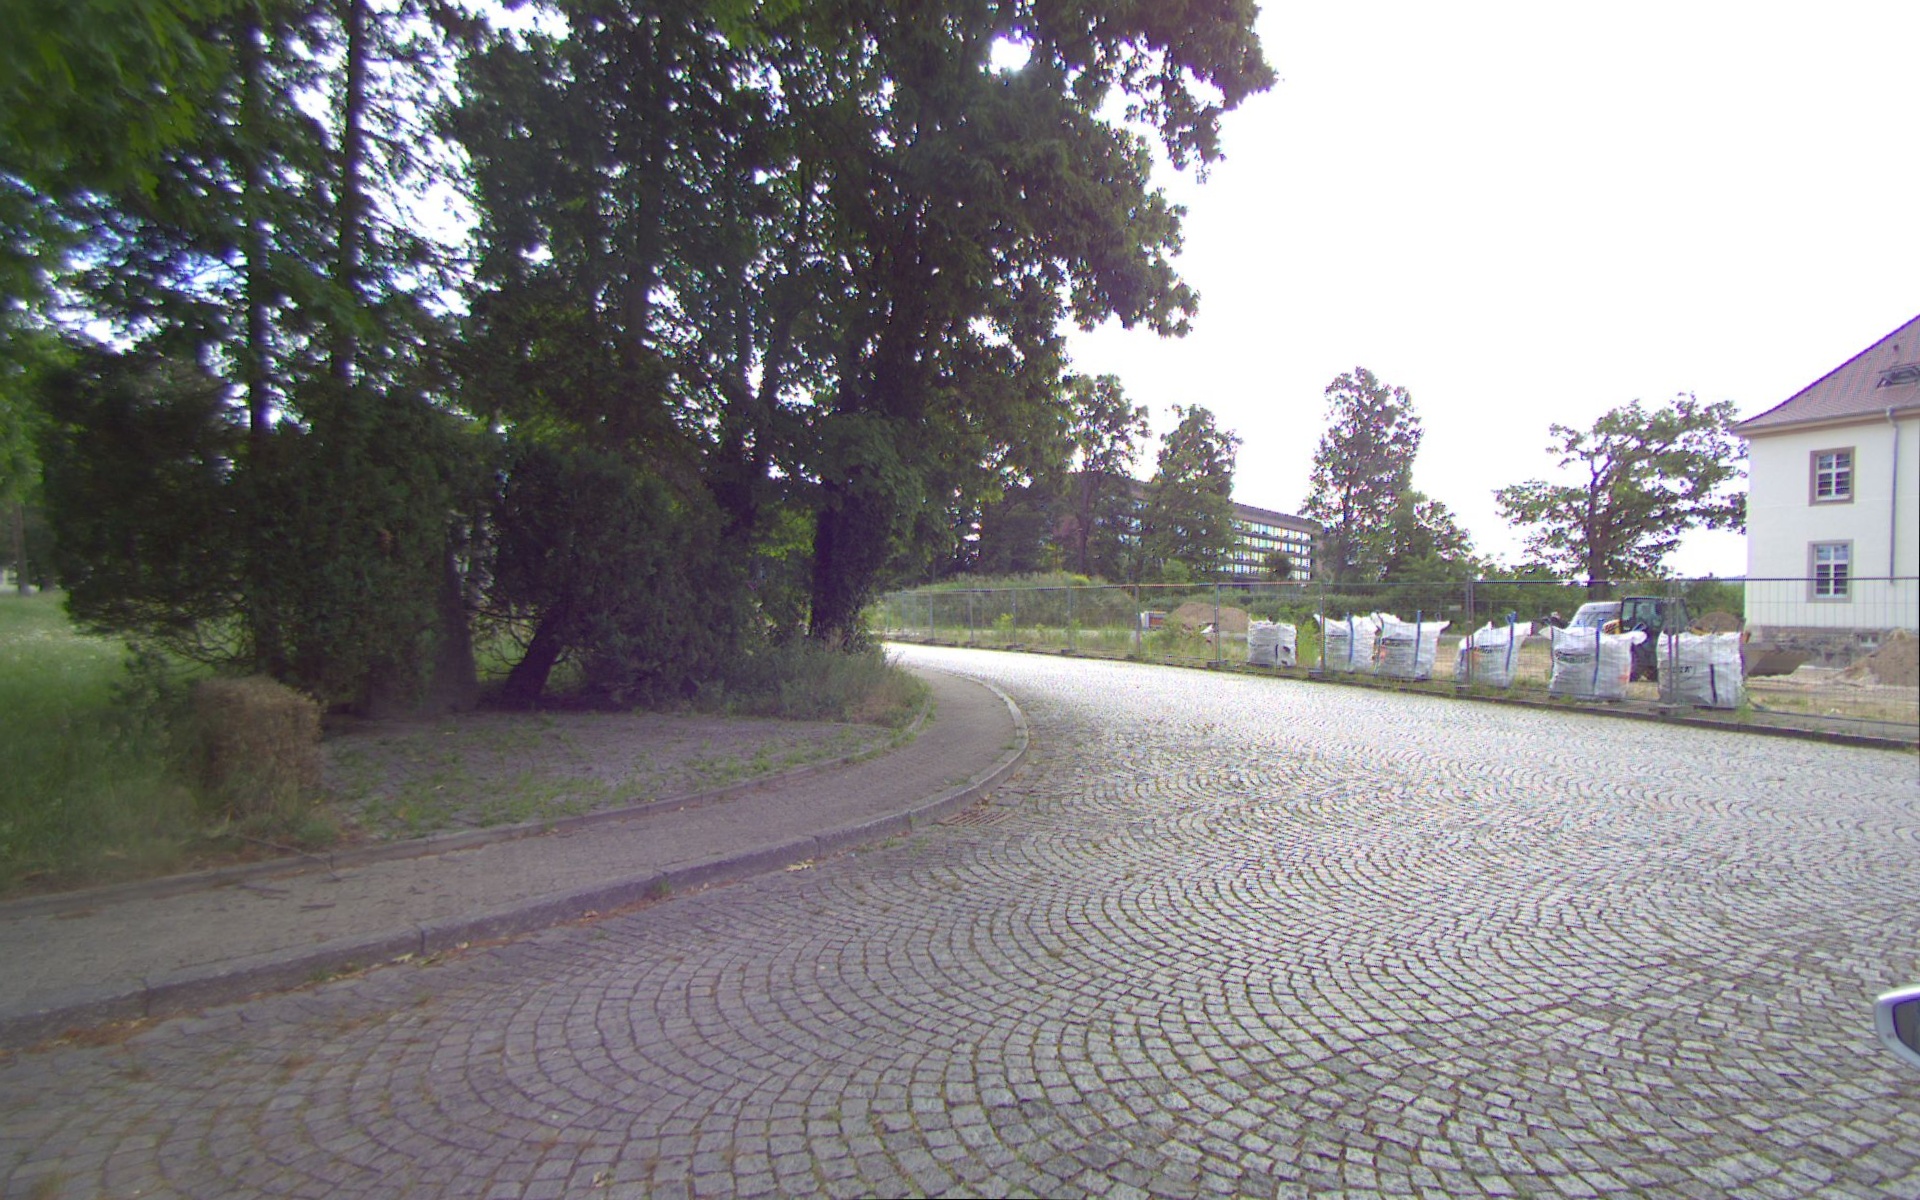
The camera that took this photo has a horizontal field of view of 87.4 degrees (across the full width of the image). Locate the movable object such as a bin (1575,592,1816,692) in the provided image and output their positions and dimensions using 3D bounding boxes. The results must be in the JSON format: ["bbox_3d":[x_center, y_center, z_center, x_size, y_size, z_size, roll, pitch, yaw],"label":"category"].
[{"bbox_3d":[21.031,1.107,29.022,1.974,2.590,5.310,1,0,-26],"label":"movable object such as a bin"}]
